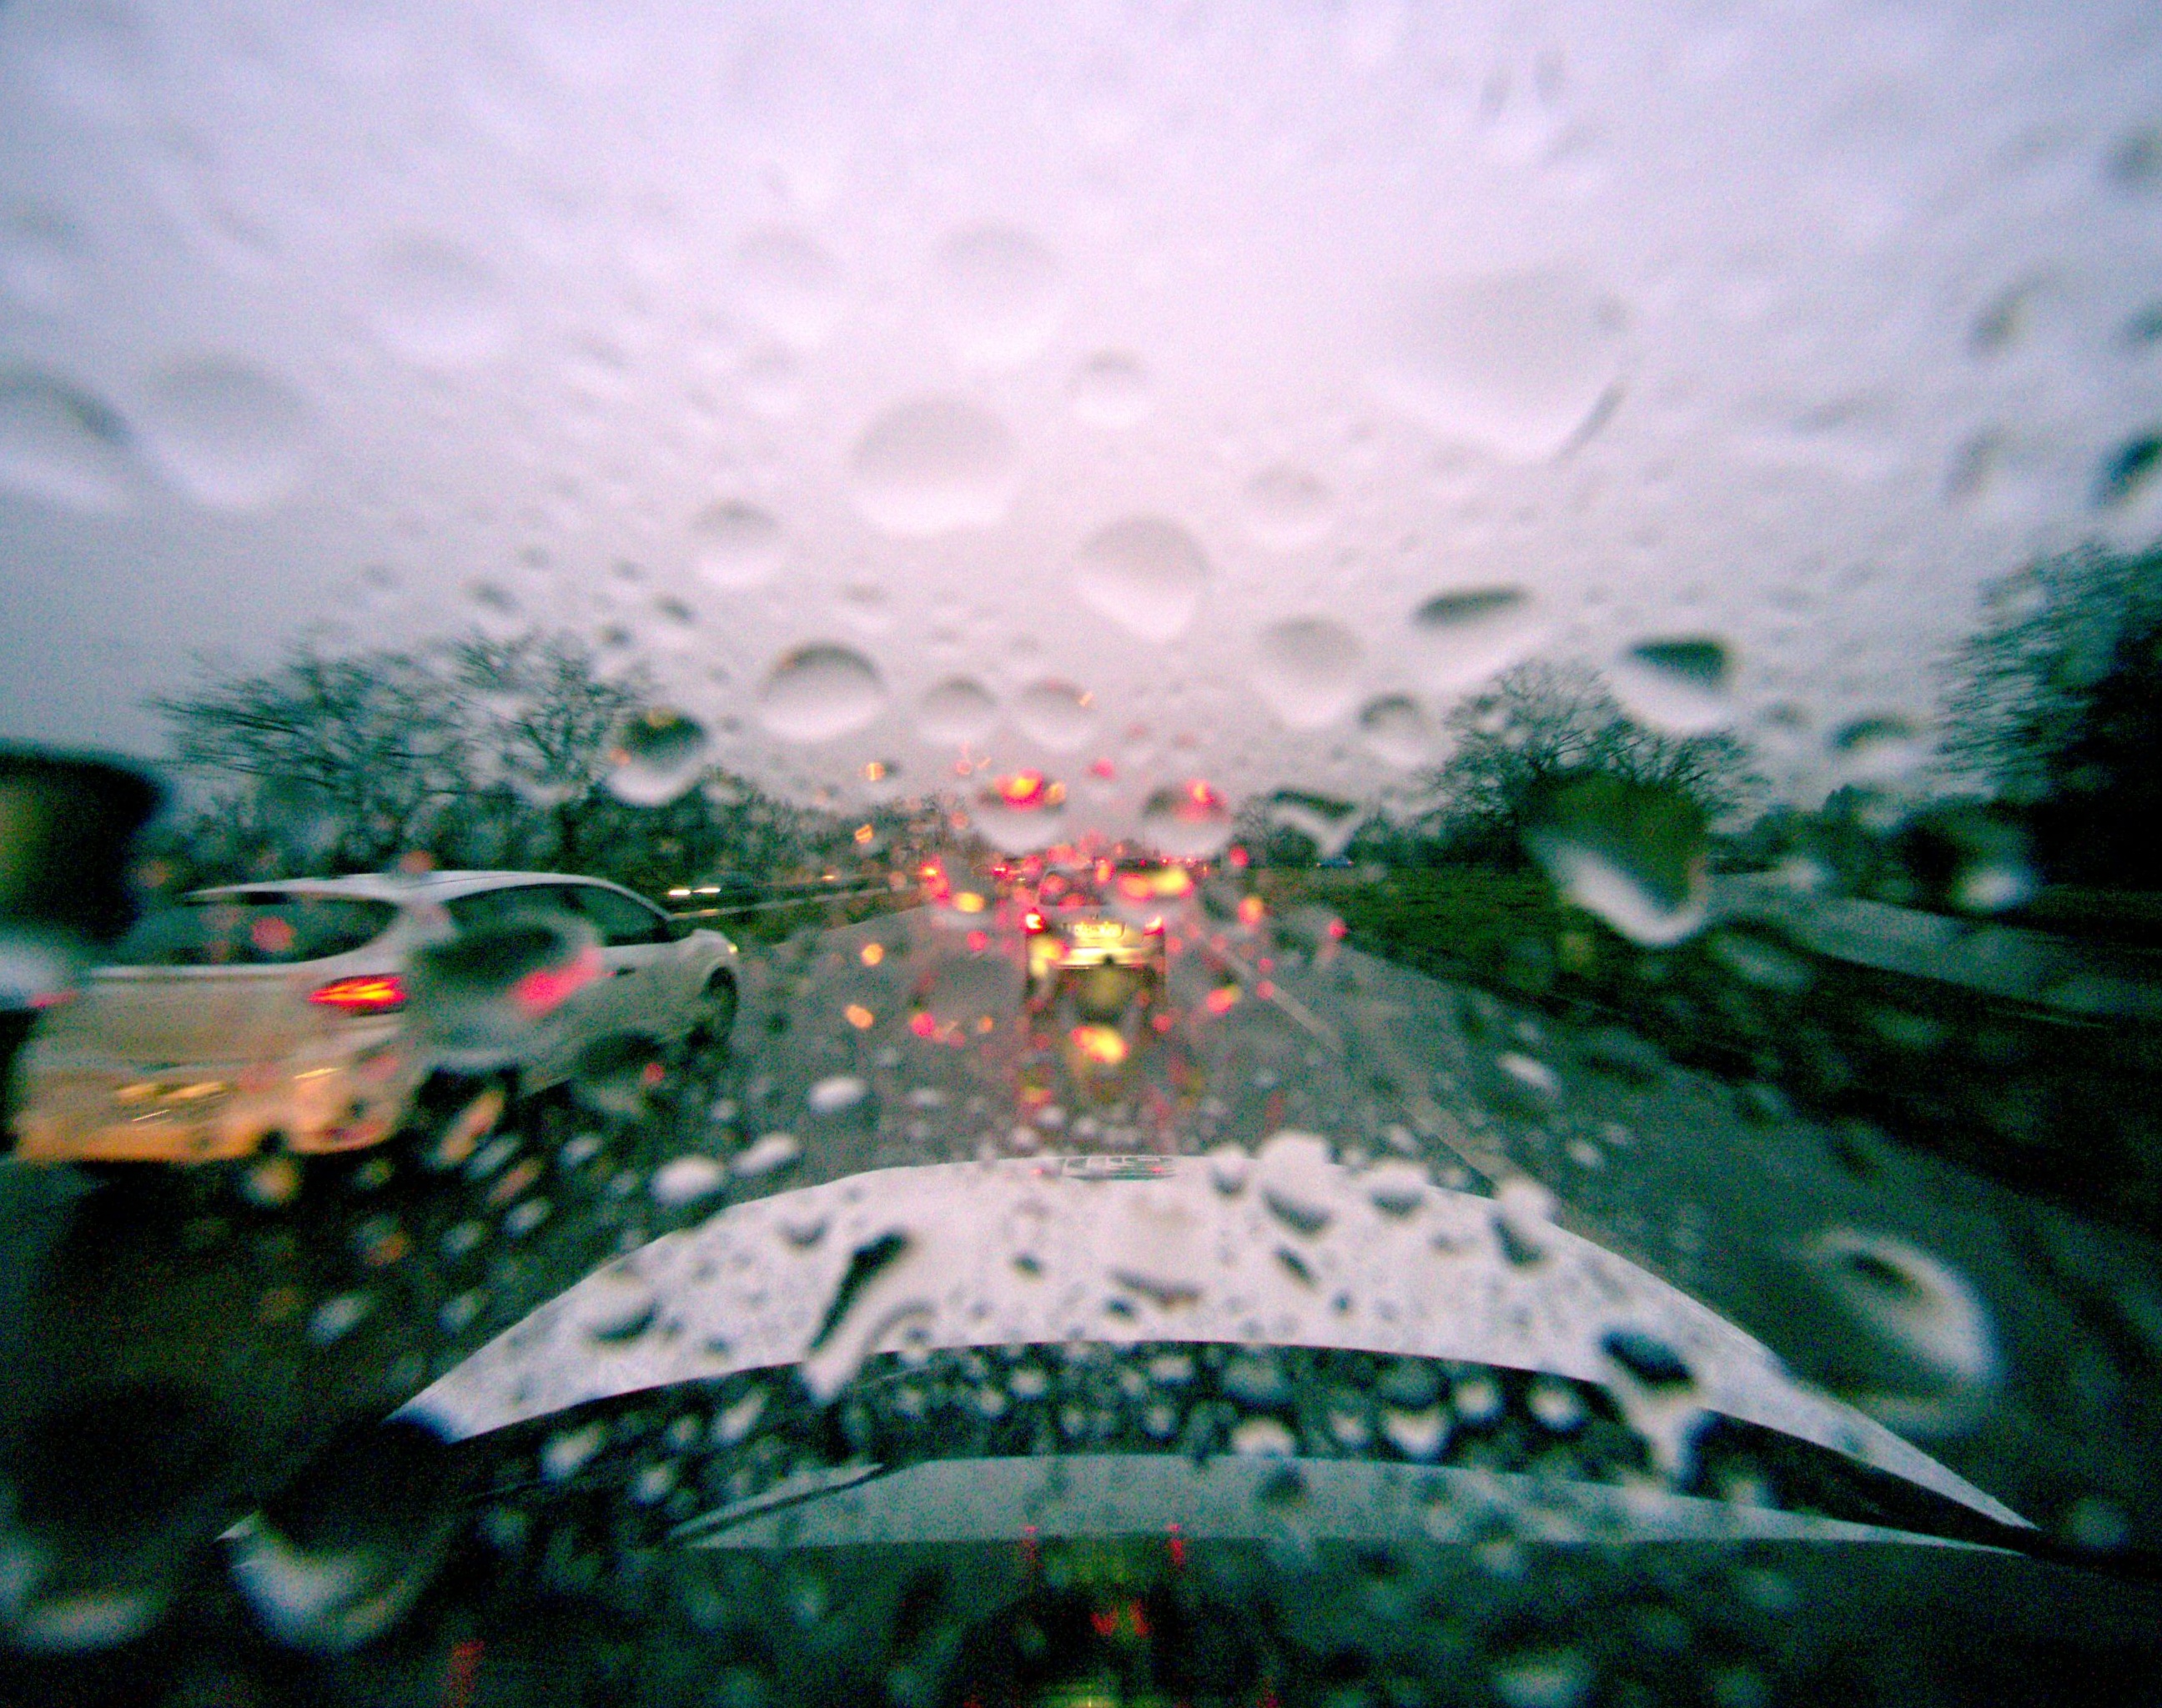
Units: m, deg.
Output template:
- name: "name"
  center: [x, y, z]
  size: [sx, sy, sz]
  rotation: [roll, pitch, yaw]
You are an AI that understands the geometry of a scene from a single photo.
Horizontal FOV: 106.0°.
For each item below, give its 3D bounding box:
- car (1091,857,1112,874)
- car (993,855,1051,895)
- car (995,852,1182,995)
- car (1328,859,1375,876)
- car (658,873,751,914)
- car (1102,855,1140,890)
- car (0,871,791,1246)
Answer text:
- name: "car"
  center: [1.995, 1.129, 79.703]
  size: [1.781, 1.545, 4.005]
  rotation: [-2, 0, 4]
- name: "car"
  center: [-2.462, 0.870, 35.048]
  size: [1.985, 1.601, 4.311]
  rotation: [0, 0, 3]
- name: "car"
  center: [0.204, 0.781, 10.889]
  size: [1.985, 1.500, 4.141]
  rotation: [-2, -1, 3]
- name: "car"
  center: [26.267, 1.305, 79.108]
  size: [3.948, 1.545, 1.806]
  rotation: [-2, -1, 30]
- name: "car"
  center: [-15.878, 1.616, 34.563]
  size: [1.775, 1.533, 4.057]
  rotation: [-2, -1, 4]
- name: "car"
  center: [2.275, 0.971, 44.901]
  size: [1.888, 1.767, 4.314]
  rotation: [-2, 0, 4]
- name: "car"
  center: [-3.735, 0.907, 5.496]
  size: [1.716, 1.440, 4.231]
  rotation: [-2, 0, 4]
